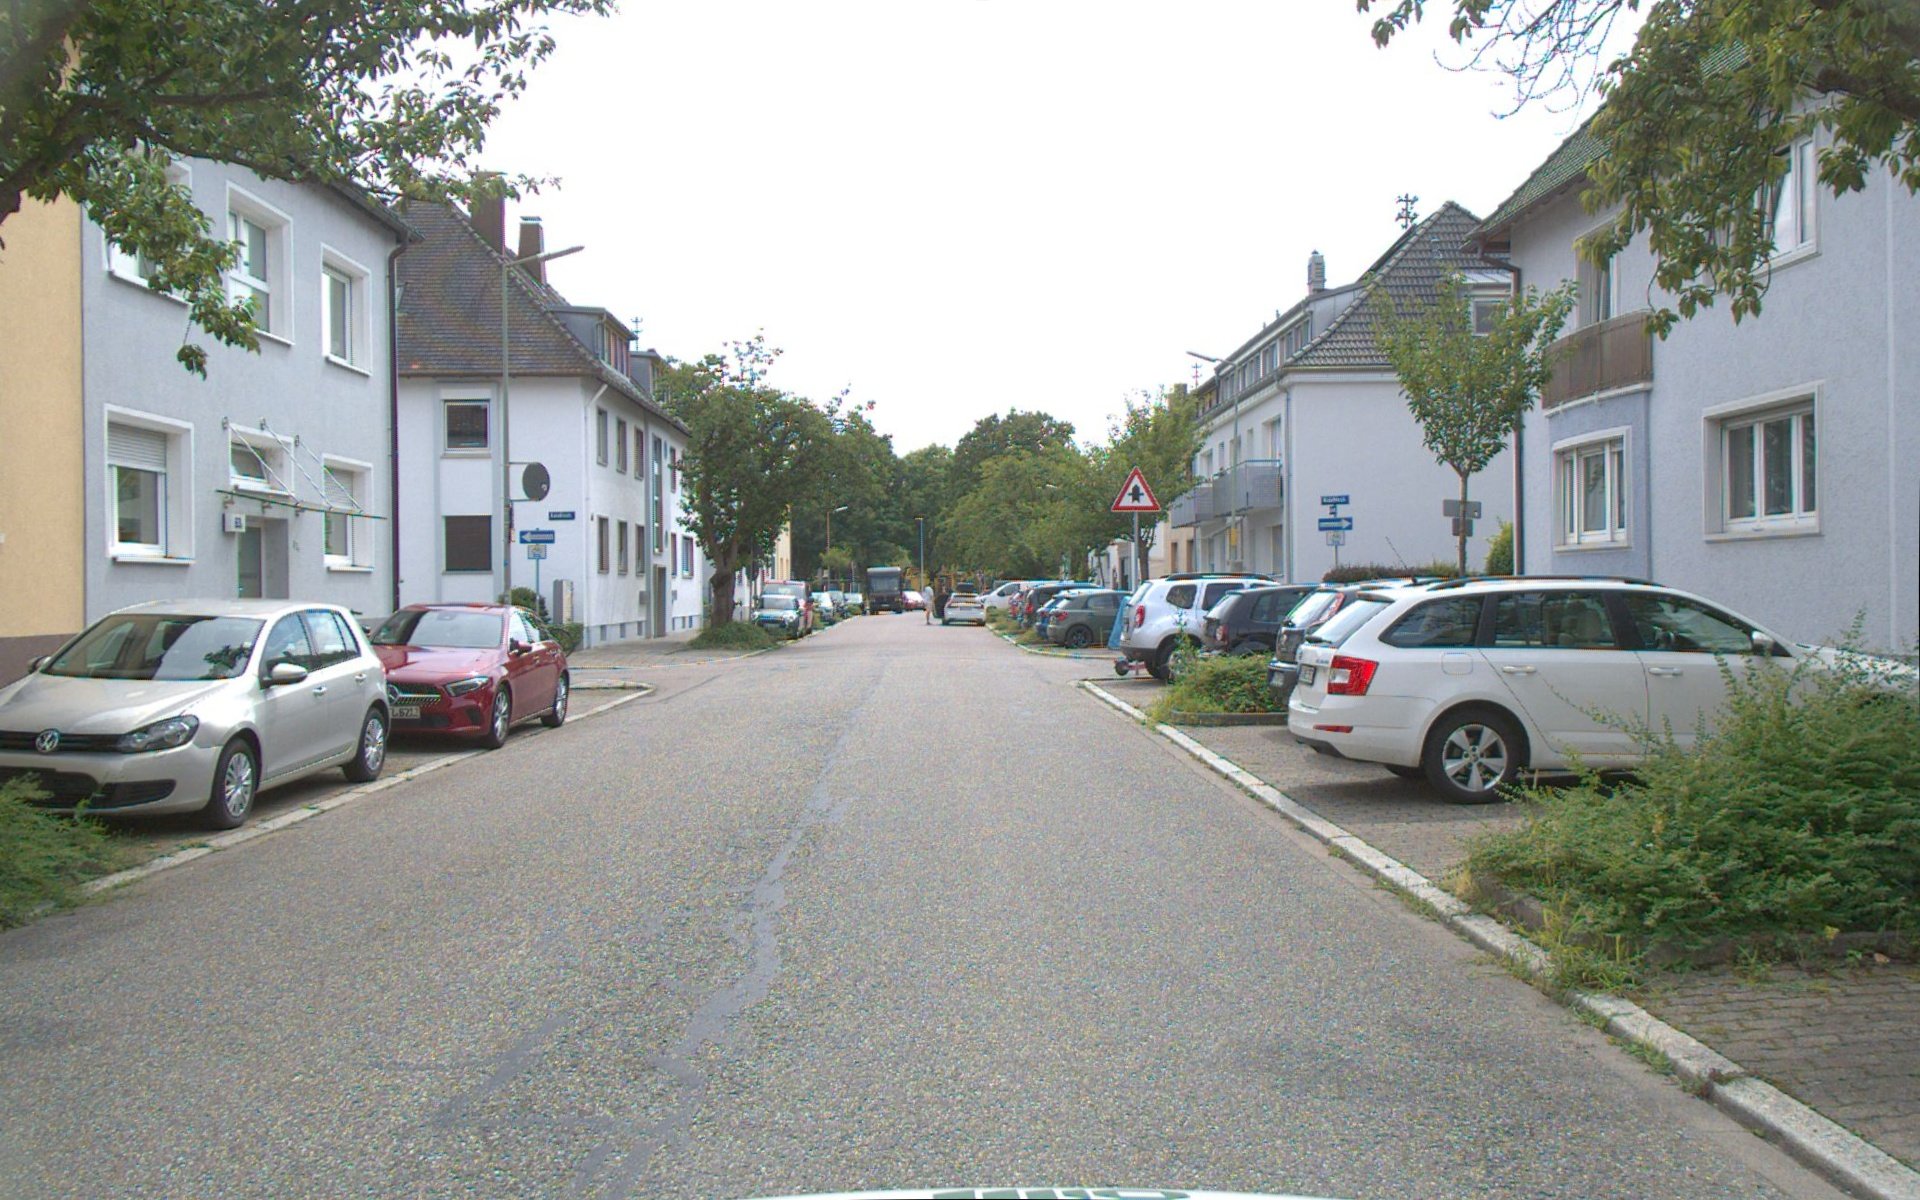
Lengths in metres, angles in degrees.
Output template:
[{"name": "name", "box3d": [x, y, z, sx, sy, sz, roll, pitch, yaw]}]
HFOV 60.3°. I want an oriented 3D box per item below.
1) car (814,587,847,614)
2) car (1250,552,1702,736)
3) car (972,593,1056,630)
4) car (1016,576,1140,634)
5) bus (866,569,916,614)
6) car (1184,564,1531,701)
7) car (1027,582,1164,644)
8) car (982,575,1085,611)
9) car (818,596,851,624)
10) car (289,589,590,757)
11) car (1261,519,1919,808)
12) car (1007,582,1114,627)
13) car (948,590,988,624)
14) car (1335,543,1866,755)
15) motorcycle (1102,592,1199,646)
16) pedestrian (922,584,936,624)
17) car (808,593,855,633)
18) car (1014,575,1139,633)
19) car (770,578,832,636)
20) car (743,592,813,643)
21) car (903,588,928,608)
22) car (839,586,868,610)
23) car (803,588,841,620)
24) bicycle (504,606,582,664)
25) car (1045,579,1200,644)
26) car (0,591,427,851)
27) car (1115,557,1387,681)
[{"name": "car", "box3d": [-7.266, -0.002, 93.202, 1.618, 1.401, 3.721, -3, 0, -1]}, {"name": "car", "box3d": [5.028, 0.406, 16.471, 3.906, 1.534, 1.712, -3, 0, -1]}, {"name": "car", "box3d": [2.570, 0.539, 79.477, 3.906, 1.545, 1.722, -3, 0, -1]}, {"name": "car", "box3d": [3.665, 0.151, 51.765, 3.671, 1.591, 1.773, -3, 0, 0]}, {"name": "bus", "box3d": [-4.682, -0.601, 113.356, 2.943, 2.809, 8.923, -3, 0, 0]}, {"name": "car", "box3d": [4.922, 0.387, 20.844, 3.906, 1.446, 1.712, -3, 0, -1]}, {"name": "car", "box3d": [3.577, 0.341, 44.049, 3.446, 1.437, 1.558, -3, 0, -1]}, {"name": "car", "box3d": [3.617, -0.346, 81.751, 4.876, 1.545, 1.768, -3, 0, -3]}, {"name": "car", "box3d": [-6.367, 0.477, 84.199, 1.508, 1.324, 3.719, -3, 0, -3]}, {"name": "car", "box3d": [-5.472, 0.682, 18.031, 1.839, 1.512, 4.511, -3, 0, -1]}, {"name": "car", "box3d": [4.614, 0.399, 11.809, 4.520, 1.693, 1.892, -3, 0, 0]}, {"name": "car", "box3d": [3.786, 0.162, 62.709, 3.906, 1.463, 1.722, -3, 0, -1]}, {"name": "car", "box3d": [0.351, 0.275, 73.341, 1.653, 1.377, 3.826, -3, 0, 0]}, {"name": "car", "box3d": [5.449, 0.397, 14.408, 3.906, 1.534, 1.712, -3, 0, -1]}, {"name": "motorcycle", "box3d": [4.472, 0.433, 38.912, 2.149, 1.232, 0.939, -1, 0, -3]}, {"name": "pedestrian", "box3d": [-1.348, 0.179, 72.612, 0.511, 1.734, 0.445, -3, 0, 3]}, {"name": "car", "box3d": [-5.193, 0.519, 67.181, 1.618, 1.487, 3.551, -3, 0, -1]}, {"name": "car", "box3d": [3.790, 0.122, 54.301, 3.906, 1.646, 1.867, -3, 0, 0]}, {"name": "car", "box3d": [-5.898, 0.245, 61.789, 1.953, 2.049, 4.519, -1, 0, -1]}, {"name": "car", "box3d": [-6.128, 0.555, 56.018, 1.727, 1.581, 3.732, -3, 0, 2]}, {"name": "car", "box3d": [-3.288, -0.172, 122.150, 1.718, 1.365, 4.000, -2, 0, 0]}, {"name": "car", "box3d": [-7.218, -0.134, 112.470, 1.588, 1.528, 4.000, -3, 0, 0]}, {"name": "car", "box3d": [-6.584, 0.168, 79.134, 1.618, 1.401, 3.719, -3, 0, -3]}, {"name": "bicycle", "box3d": [-9.336, 0.771, 37.052, 1.602, 1.199, 0.434, -3, 0, -5]}, {"name": "car", "box3d": [4.023, 0.270, 41.372, 3.671, 1.389, 1.773, -3, 0, 0]}, {"name": "car", "box3d": [-5.505, 0.717, 12.072, 1.736, 1.416, 4.275, 5, 0, 0]}, {"name": "car", "box3d": [4.457, 0.277, 25.765, 3.844, 1.661, 1.868, -3, 0, 0]}]
